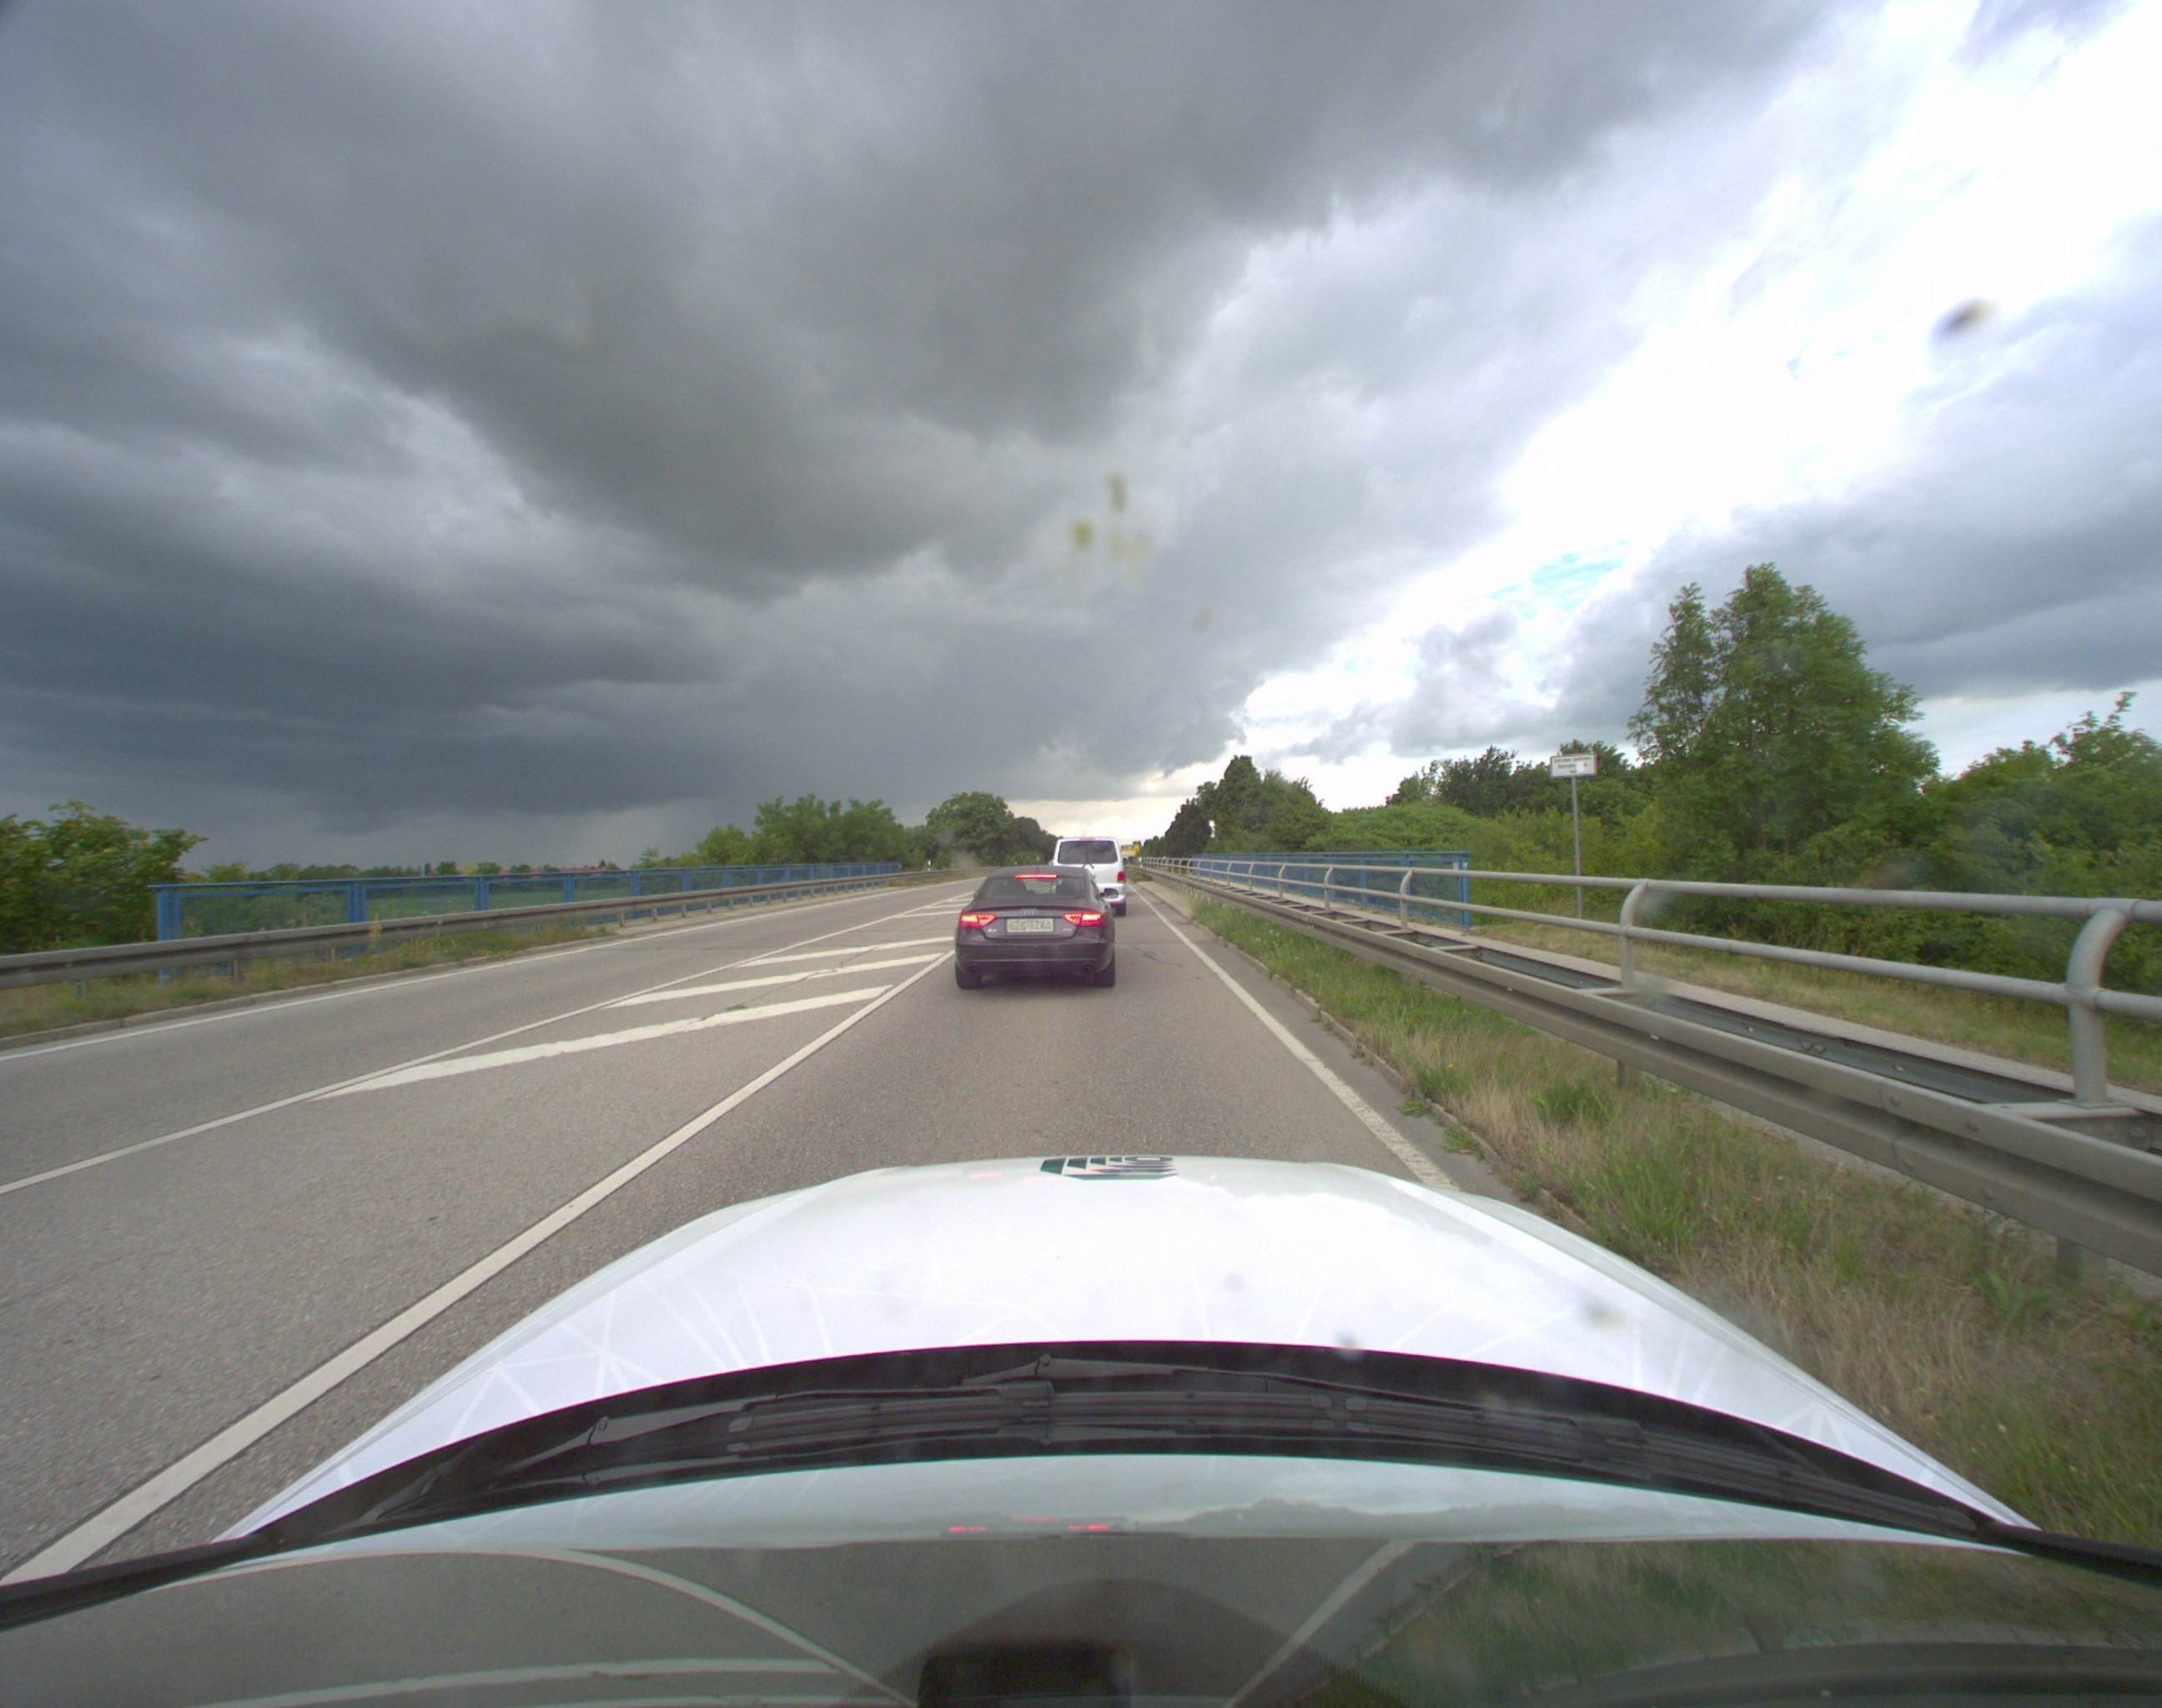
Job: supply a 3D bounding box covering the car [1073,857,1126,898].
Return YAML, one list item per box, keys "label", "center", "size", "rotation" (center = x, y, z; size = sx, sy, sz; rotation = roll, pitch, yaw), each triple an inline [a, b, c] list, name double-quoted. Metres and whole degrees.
- label: "car"
  center: [0.731, 0.822, 30.479]
  size: [1.814, 1.381, 4.074]
  rotation: [-1, 0, 2]

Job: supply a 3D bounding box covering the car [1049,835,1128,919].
- label: "car"
  center: [0.226, 0.558, 21.269]
  size: [1.822, 1.935, 4.001]
  rotation: [-2, 0, 1]

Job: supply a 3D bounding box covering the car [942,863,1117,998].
- label: "car"
  center: [-0.450, 0.821, 10.512]
  size: [1.814, 1.381, 4.074]
  rotation: [0, 0, 2]
